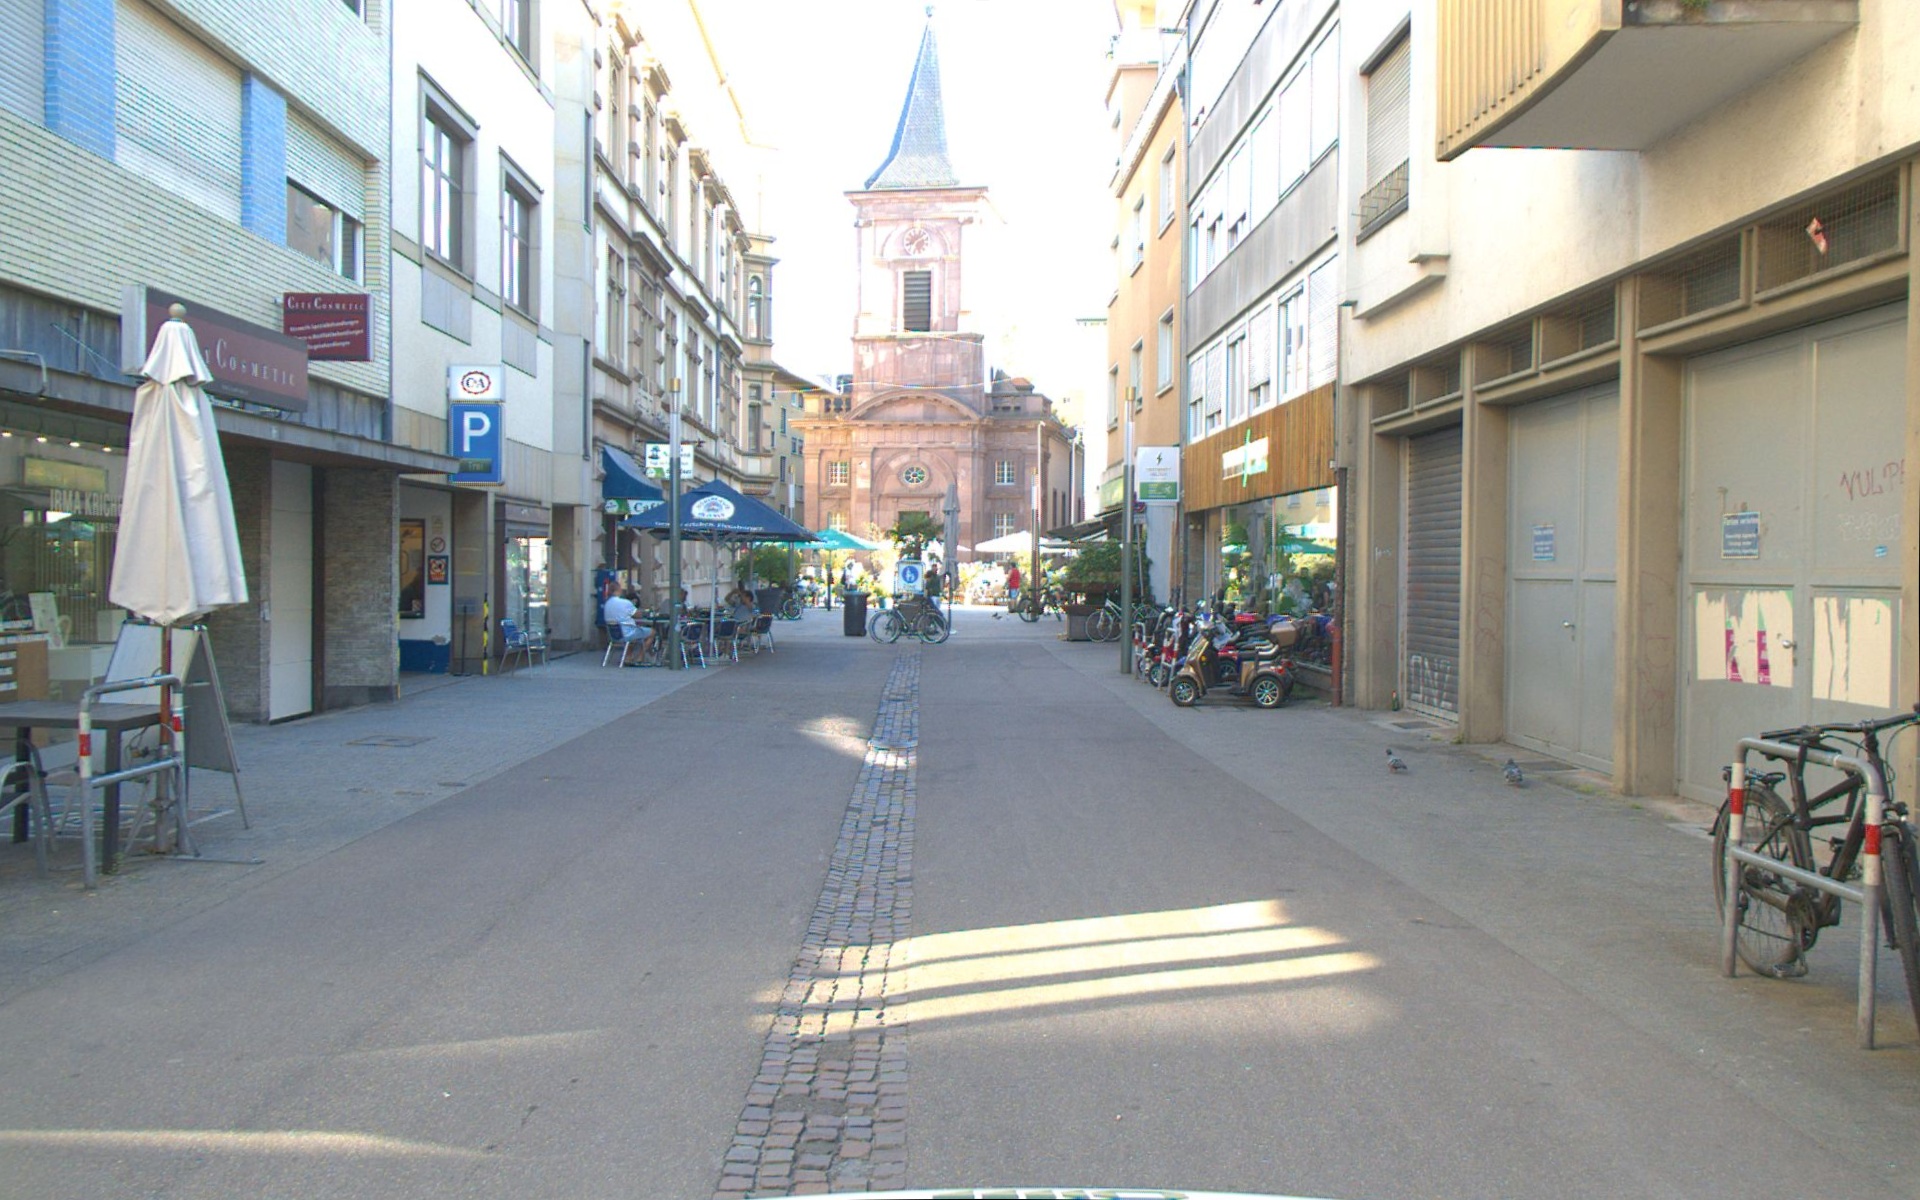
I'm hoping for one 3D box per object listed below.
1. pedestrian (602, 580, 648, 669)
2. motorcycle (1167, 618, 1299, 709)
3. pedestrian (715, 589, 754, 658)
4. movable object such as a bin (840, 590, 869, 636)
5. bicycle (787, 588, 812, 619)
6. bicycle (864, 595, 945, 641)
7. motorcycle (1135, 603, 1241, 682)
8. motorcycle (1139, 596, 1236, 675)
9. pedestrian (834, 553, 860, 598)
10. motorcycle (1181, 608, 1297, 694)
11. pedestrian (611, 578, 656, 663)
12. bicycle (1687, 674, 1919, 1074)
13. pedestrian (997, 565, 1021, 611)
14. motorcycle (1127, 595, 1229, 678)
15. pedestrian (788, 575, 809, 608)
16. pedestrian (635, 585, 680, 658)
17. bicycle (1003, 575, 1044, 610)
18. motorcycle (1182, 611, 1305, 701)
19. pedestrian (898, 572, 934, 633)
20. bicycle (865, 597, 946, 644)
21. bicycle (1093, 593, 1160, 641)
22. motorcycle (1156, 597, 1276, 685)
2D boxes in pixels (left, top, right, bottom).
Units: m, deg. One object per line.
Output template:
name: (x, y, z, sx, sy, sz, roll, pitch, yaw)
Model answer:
pedestrian: (-5.331, 0.383, 26.284, 0.696, 1.392, 0.717, 0, 1, -14)
motorcycle: (3.278, 0.748, 19.882, 1.531, 1.060, 0.373, 0, 0, 17)
pedestrian: (-4.068, 0.419, 29.867, 0.679, 1.236, 0.582, 0, 1, -10)
movable object such as a bin: (-2.551, 0.311, 39.996, 0.707, 1.093, 0.374, 0, 1, -3)
bicycle: (-4.768, 0.092, 49.126, 0.447, 0.864, 2.147, 0, 1, 2)
bicycle: (-1.251, 0.398, 37.168, 1.788, 1.022, 0.381, 0, 1, -5)
motorcycle: (3.244, 0.592, 23.583, 1.452, 1.094, 0.412, 0, 0, 17)
motorcycle: (3.524, 0.543, 25.588, 1.452, 1.202, 0.412, 0, 0, 14)
pedestrian: (-3.986, -0.868, 58.382, 0.767, 1.583, 0.535, 1, 1, 14)
motorcycle: (3.646, 0.661, 21.626, 1.452, 1.094, 0.412, 0, 0, 17)
pedestrian: (-5.410, 0.331, 27.361, 0.705, 1.392, 0.708, 0, 1, -14)
bicycle: (3.153, 0.882, 5.923, 0.437, 1.160, 1.710, 1, 0, 4)
pedestrian: (1.795, -0.449, 60.305, 0.606, 1.669, 0.649, 0, 1, -37)
motorcycle: (3.223, 0.528, 24.452, 1.452, 1.202, 0.412, 0, 0, 14)
pedestrian: (-6.163, -0.332, 63.097, 0.686, 1.239, 0.720, 1, 1, 4)
pedestrian: (-5.312, 0.365, 29.069, 0.751, 1.254, 0.829, 0, 1, -9)
bicycle: (2.401, -0.278, 62.510, 1.570, 1.330, 0.362, 0, 1, -31)
motorcycle: (3.540, 0.692, 20.667, 1.484, 1.094, 0.412, 0, 0, 17)
pedestrian: (-1.096, 0.052, 41.289, 0.866, 1.489, 0.731, 0, 1, -1)
bicycle: (-1.218, 0.444, 36.771, 1.788, 1.022, 0.381, 0, 1, -5)
bicycle: (3.662, 0.368, 36.364, 1.432, 1.022, 0.573, 1, 1, 5)
motorcycle: (3.535, 0.555, 22.863, 1.590, 1.195, 0.481, 0, 0, 17)
